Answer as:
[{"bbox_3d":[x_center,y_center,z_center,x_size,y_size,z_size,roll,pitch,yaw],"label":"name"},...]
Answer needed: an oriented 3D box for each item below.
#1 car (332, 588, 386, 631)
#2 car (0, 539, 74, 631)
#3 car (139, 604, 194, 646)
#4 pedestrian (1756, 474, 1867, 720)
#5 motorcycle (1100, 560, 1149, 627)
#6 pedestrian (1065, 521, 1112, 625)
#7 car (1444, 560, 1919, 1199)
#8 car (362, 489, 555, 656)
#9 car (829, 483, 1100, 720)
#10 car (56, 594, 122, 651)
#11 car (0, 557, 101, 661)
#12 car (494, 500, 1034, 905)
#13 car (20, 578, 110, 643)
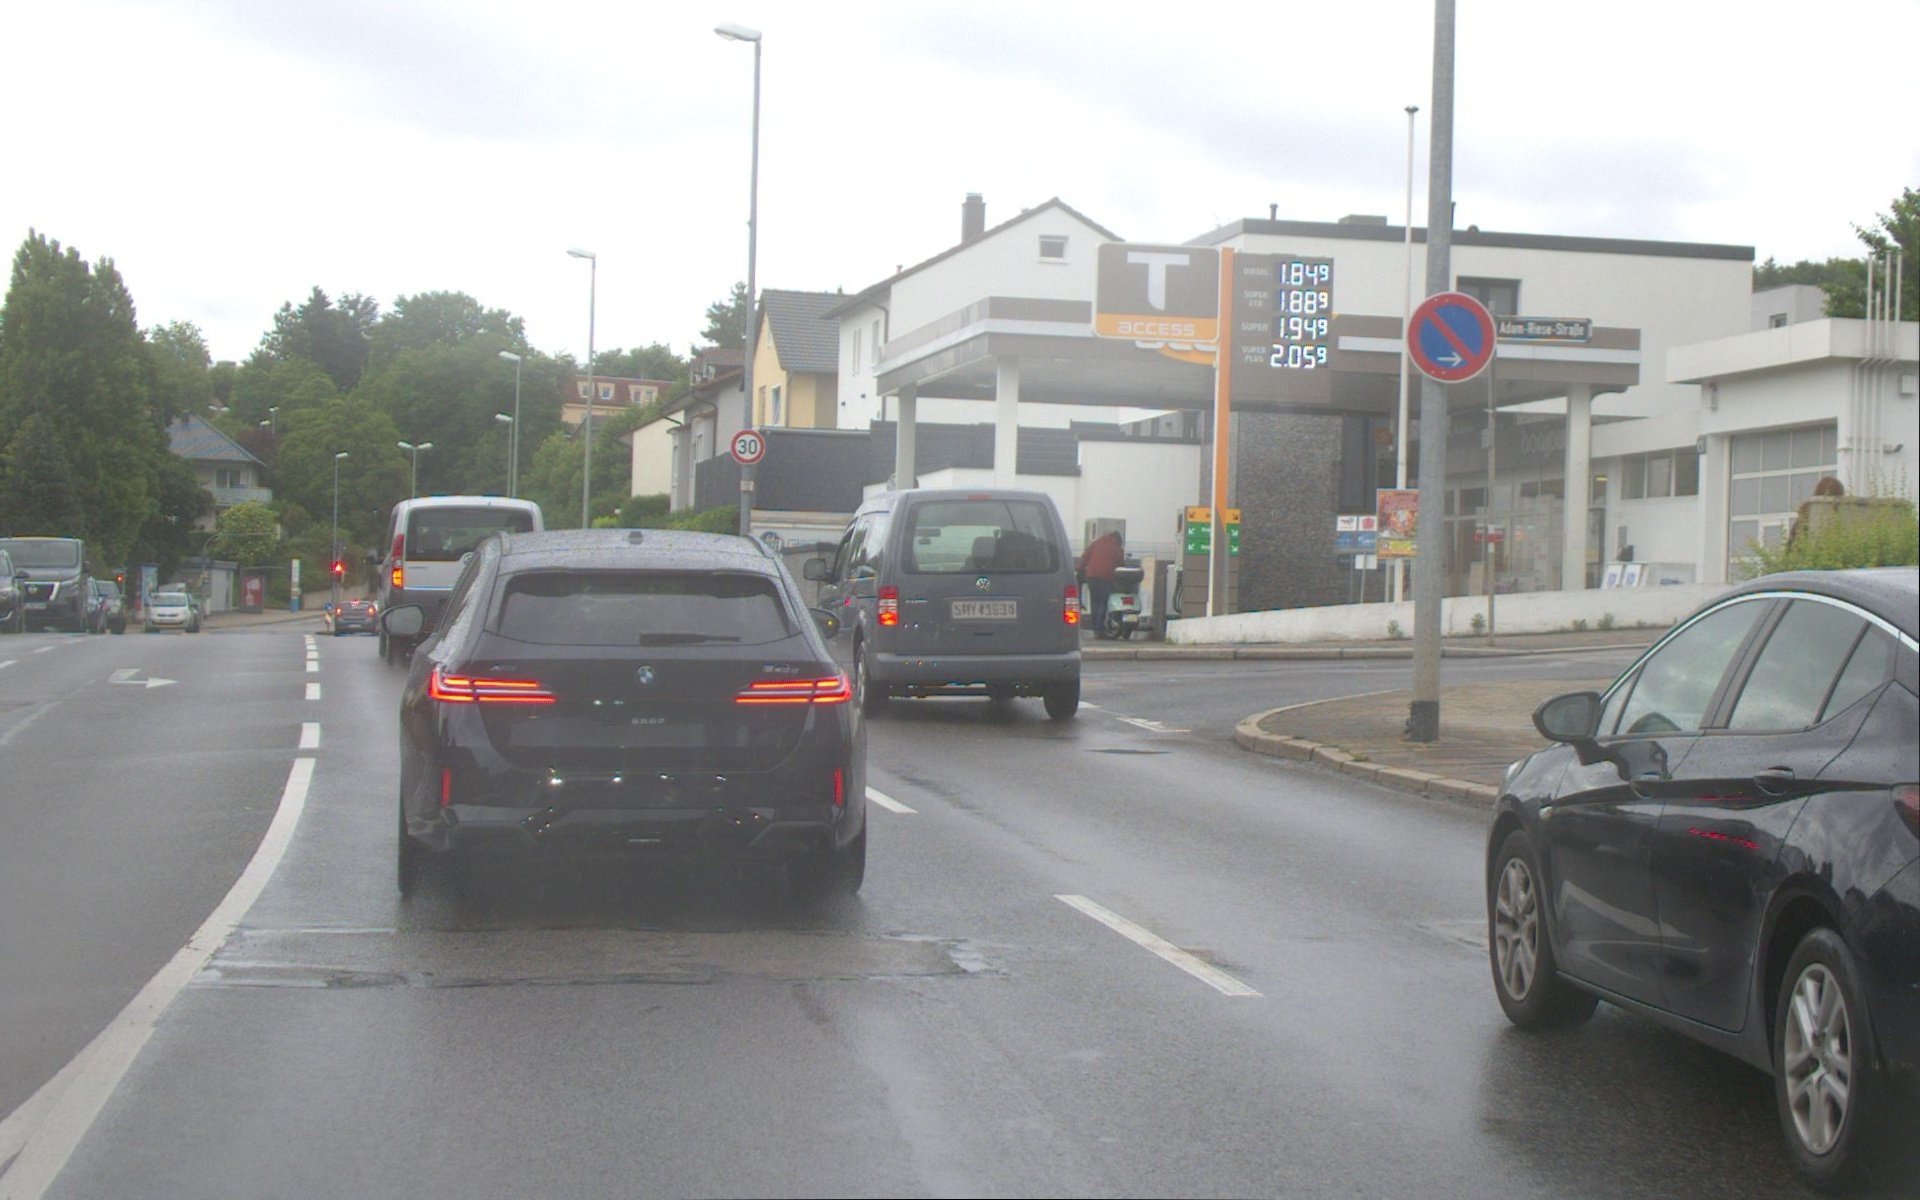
[{"bbox_3d":[-25.825,0.421,147.882,1.993,1.735,4.000,2,-1,-6],"label":"car"},{"bbox_3d":[-16.538,-0.249,60.291,1.749,1.512,4.529,2,-1,-13],"label":"car"},{"bbox_3d":[-31.606,1.018,137.031,1.884,1.580,4.001,2,-1,-10],"label":"car"},{"bbox_3d":[7.094,-0.023,28.653,0.715,2.007,0.614,2,-1,-1],"label":"pedestrian"},{"bbox_3d":[2.642,-0.093,55.327,0.462,1.052,1.391,2,-1,-10],"label":"motorcycle"},{"bbox_3d":[2.073,-0.438,55.510,0.609,1.650,0.586,2,-1,-10],"label":"pedestrian"},{"bbox_3d":[2.653,0.652,9.161,1.756,1.444,4.001,2,1,-6],"label":"car"},{"bbox_3d":[-5.647,-0.265,38.828,1.993,1.732,4.001,2,-1,-8],"label":"car"},{"bbox_3d":[-0.036,0.045,28.293,1.838,1.761,4.000,2,-1,-5],"label":"car"},{"bbox_3d":[-23.108,0.602,91.307,1.550,1.426,4.015,2,-1,-13],"label":"car"},{"bbox_3d":[-18.641,0.209,70.240,1.912,1.996,5.089,2,-1,-13],"label":"car"},{"bbox_3d":[-1.000,0.423,15.008,1.993,1.479,4.001,2,-1,-8],"label":"car"},{"bbox_3d":[-22.144,0.277,85.186,1.757,1.527,4.287,2,-1,-10],"label":"car"}]
